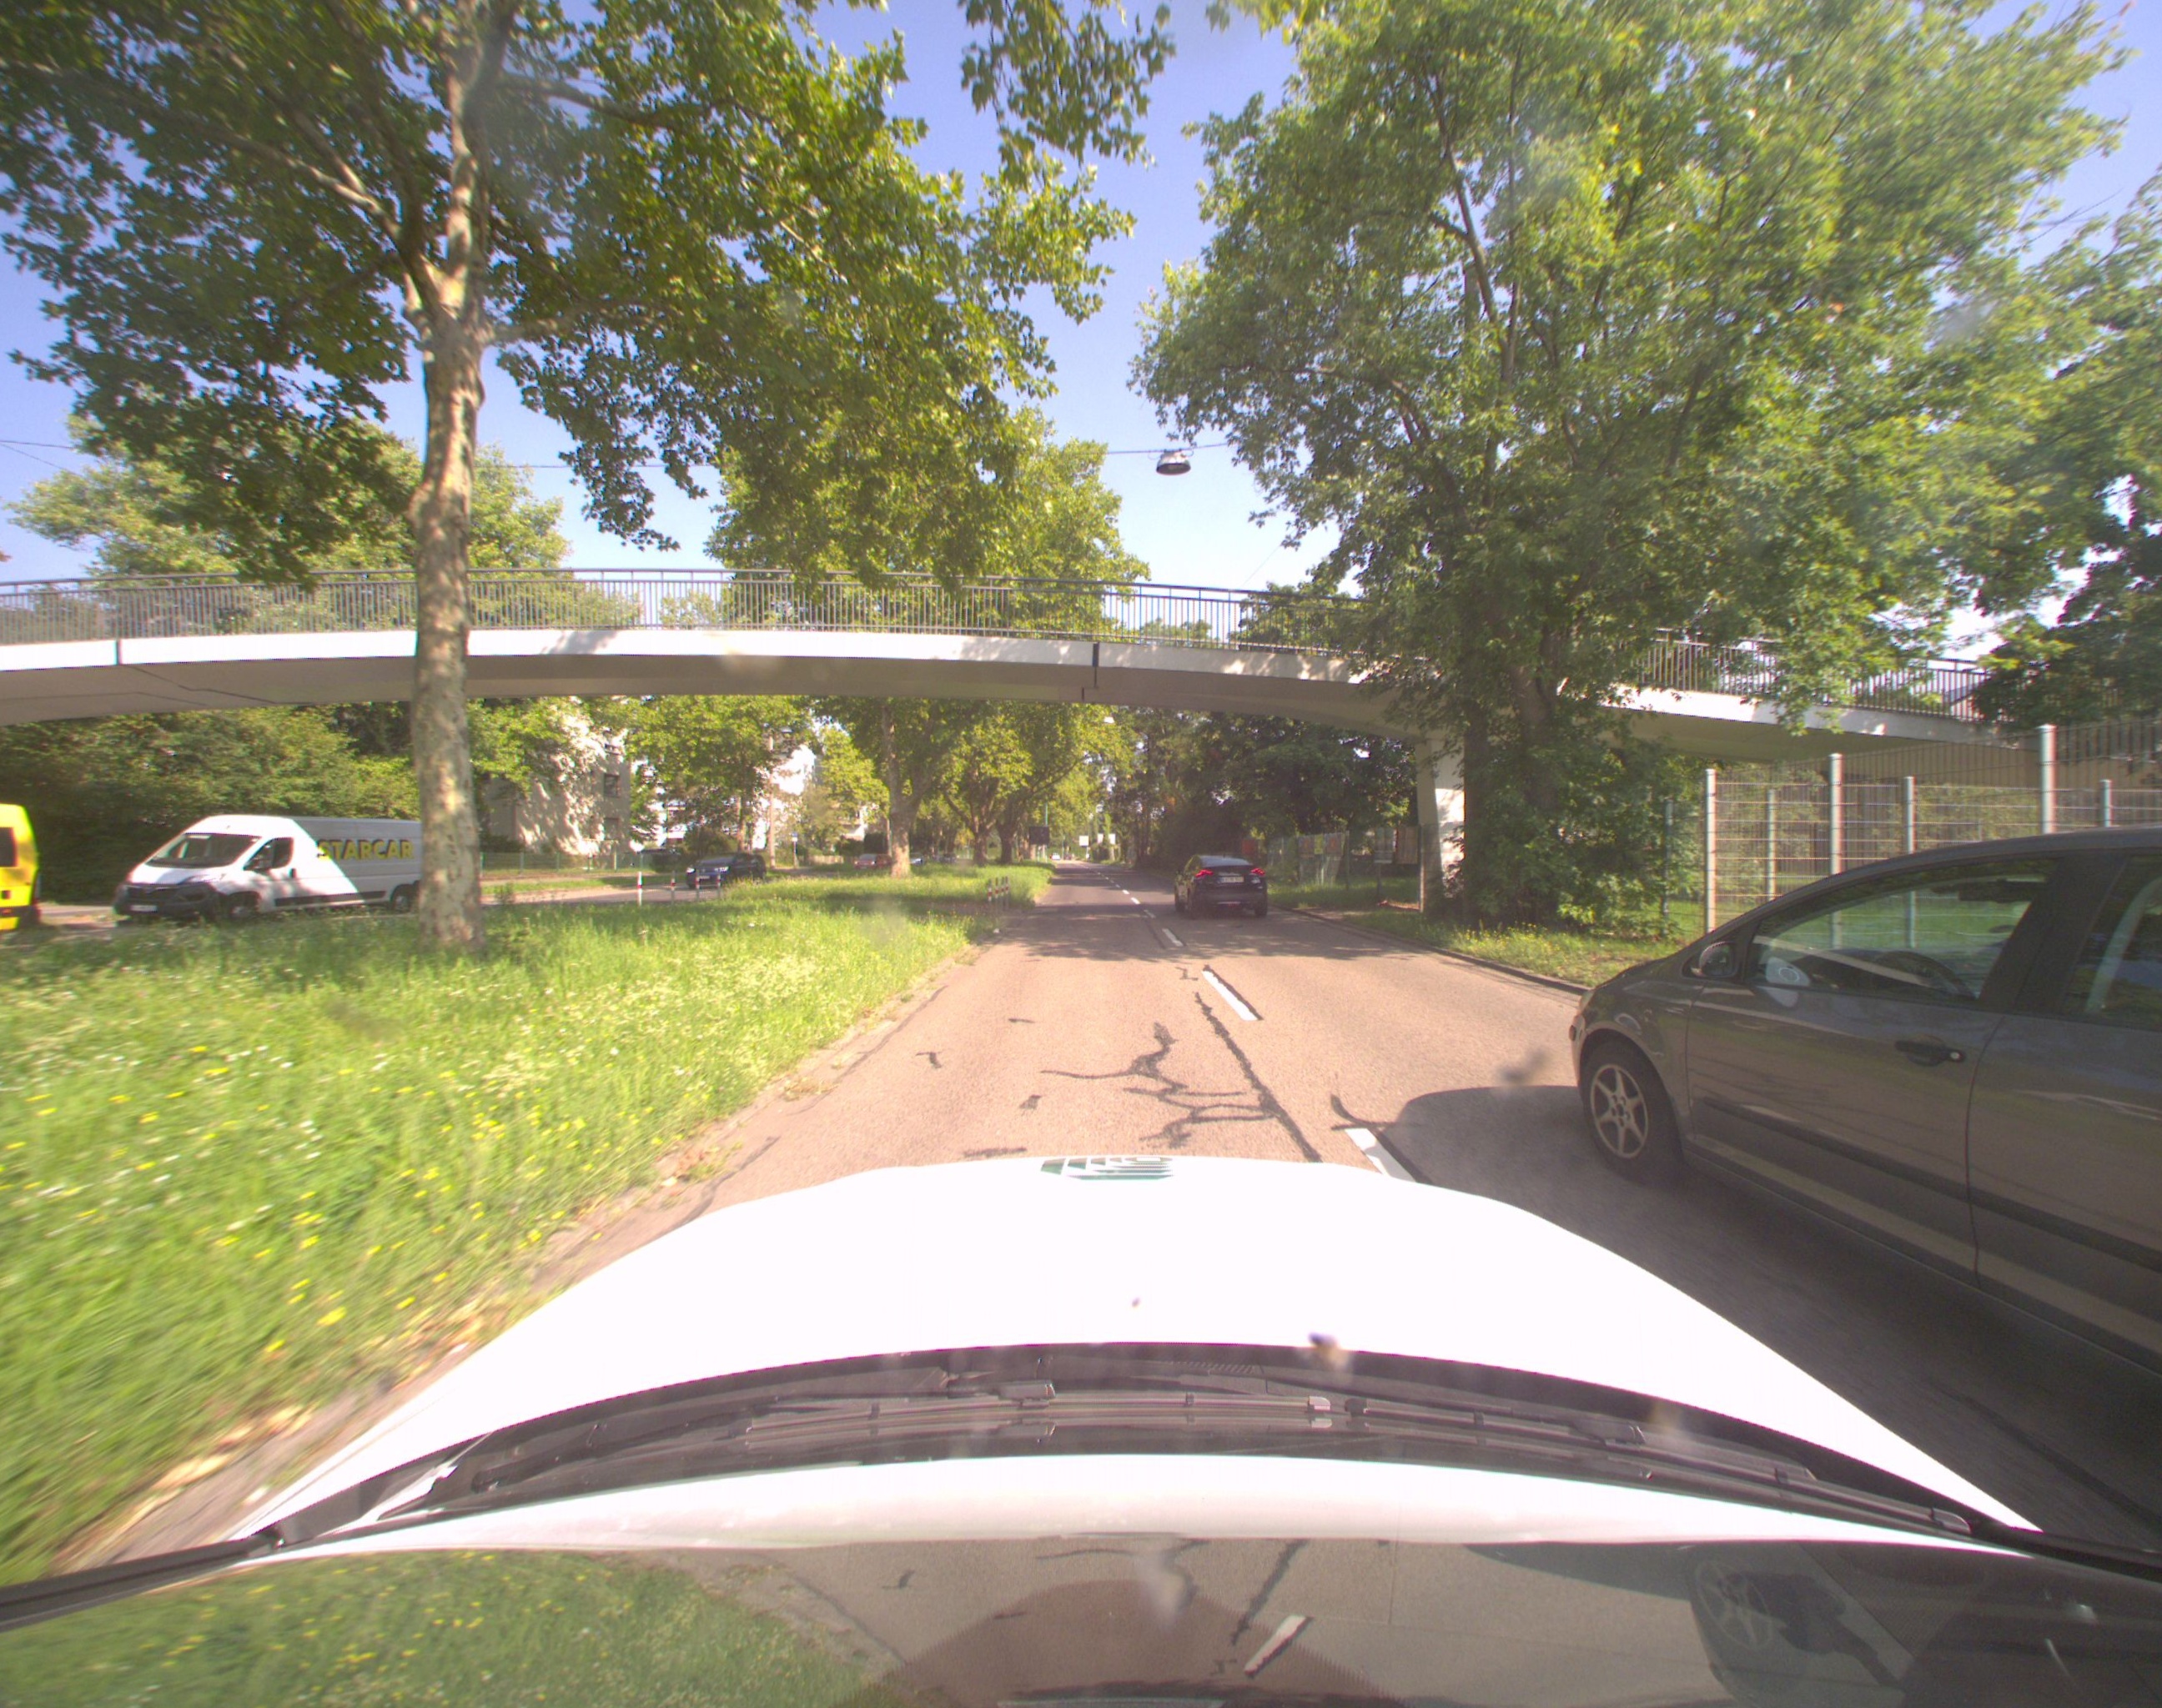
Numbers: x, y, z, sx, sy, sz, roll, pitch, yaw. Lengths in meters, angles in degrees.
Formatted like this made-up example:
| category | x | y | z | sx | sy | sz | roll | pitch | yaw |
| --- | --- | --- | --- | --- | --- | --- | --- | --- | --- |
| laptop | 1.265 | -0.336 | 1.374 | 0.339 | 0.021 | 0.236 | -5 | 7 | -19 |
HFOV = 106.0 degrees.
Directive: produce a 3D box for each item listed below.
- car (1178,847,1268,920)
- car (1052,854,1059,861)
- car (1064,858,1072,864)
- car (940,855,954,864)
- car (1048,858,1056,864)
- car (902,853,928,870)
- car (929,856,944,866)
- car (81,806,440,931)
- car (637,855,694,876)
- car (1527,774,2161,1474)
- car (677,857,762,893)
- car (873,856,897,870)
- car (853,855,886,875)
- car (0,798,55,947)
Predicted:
| category | x | y | z | sx | sy | sz | roll | pitch | yaw |
| --- | --- | --- | --- | --- | --- | --- | --- | --- | --- |
| car | 3.374 | 0.673 | 20.069 | 1.638 | 1.588 | 4.257 | -1 | -1 | 3 |
| car | -5.729 | 0.834 | 183.455 | 1.683 | 1.462 | 3.997 | 0 | 0 | -2 |
| car | -3.170 | 1.732 | 194.636 | 1.794 | 1.401 | 3.995 | 0 | 0 | -3 |
| car | -22.142 | 0.930 | 134.563 | 1.695 | 1.568 | 3.996 | 0 | 0 | -2 |
| car | -7.024 | 1.708 | 197.583 | 1.681 | 1.462 | 3.850 | 0 | 0 | 1 |
| car | -17.018 | 0.743 | 83.663 | 1.797 | 1.719 | 4.718 | -1 | 0 | -1 |
| car | -22.323 | 1.135 | 126.262 | 1.695 | 1.508 | 4.536 | 0 | 0 | -2 |
| car | -19.102 | 0.311 | 19.657 | 2.201 | 2.430 | 6.264 | 3 | 0 | 0 |
| car | -35.460 | 0.994 | 69.578 | 4.018 | 1.772 | 1.977 | 1 | -1 | -38 |
| car | 3.239 | 0.610 | 2.529 | 1.639 | 1.556 | 3.899 | 0 | 0 | 1 |
| car | -16.105 | 0.902 | 36.536 | 1.782 | 1.533 | 4.455 | 0 | 0 | 0 |
| car | -19.830 | 0.901 | 82.420 | 1.534 | 1.451 | 4.062 | 0 | 0 | -1 |
| car | -16.671 | 0.811 | 64.258 | 1.686 | 1.533 | 4.066 | 0 | 0 | -2 |
| car | -19.190 | 0.288 | 11.228 | 2.199 | 2.479 | 6.064 | 0 | 0 | 3 |
